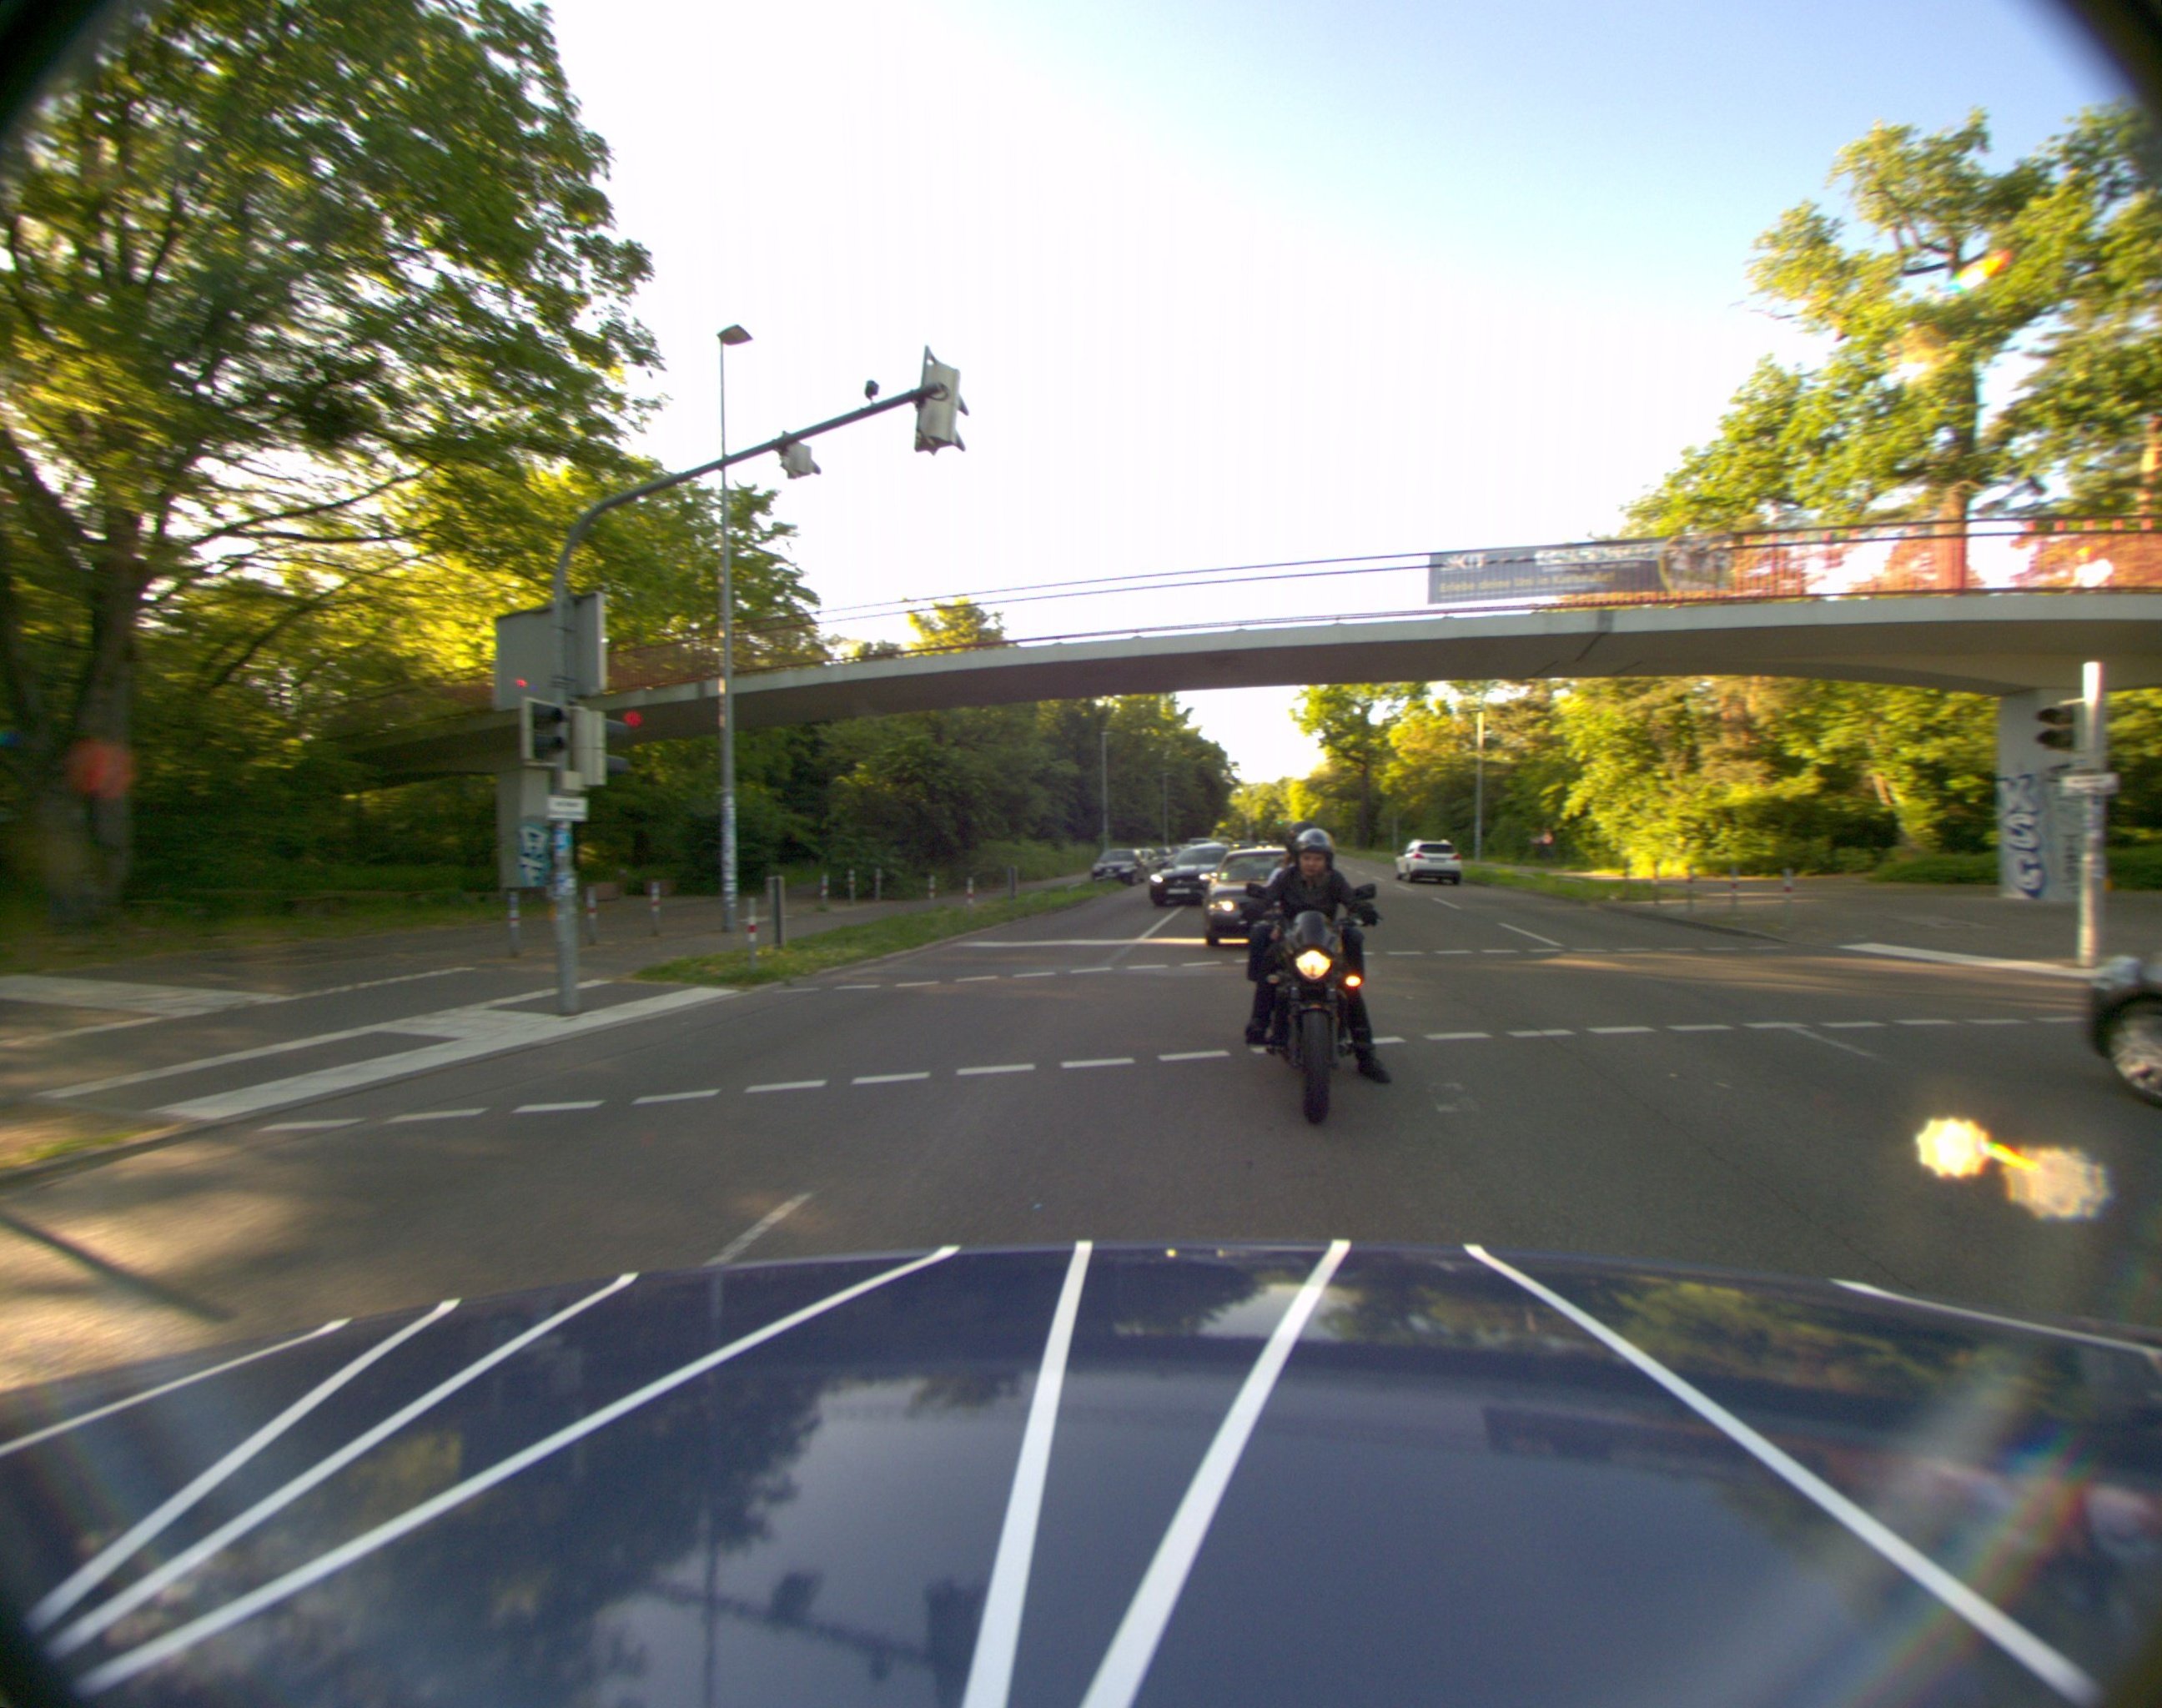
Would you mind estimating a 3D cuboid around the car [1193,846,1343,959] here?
[{"bbox_3d":[2.908,0.639,11.946,1.866,1.381,4.003,-3,1,13],"label":"car"}]

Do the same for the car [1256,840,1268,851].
[{"bbox_3d":[23.691,-1.127,99.325,1.463,1.237,4.003,-1,1,13],"label":"car"}]

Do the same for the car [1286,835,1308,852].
[{"bbox_3d":[21.641,-1.066,76.153,1.964,1.497,4.650,-1,2,14],"label":"car"}]

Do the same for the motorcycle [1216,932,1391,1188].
[{"bbox_3d":[1.410,1.132,5.050,0.806,0.908,2.715,-1,1,14],"label":"motorcycle"}]

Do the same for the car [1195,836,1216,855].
[{"bbox_3d":[13.622,-0.925,82.765,1.949,1.965,4.399,0,1,13],"label":"car"}]

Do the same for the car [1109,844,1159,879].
[{"bbox_3d":[2.575,0.317,36.072,1.719,1.499,3.979,0,1,13],"label":"car"}]

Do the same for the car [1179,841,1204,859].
[{"bbox_3d":[9.376,-0.355,64.132,1.735,1.499,4.399,0,1,13],"label":"car"}]

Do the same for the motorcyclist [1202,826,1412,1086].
[{"bbox_3d":[1.465,0.552,5.091,1.136,1.420,1.567,-1,3,14],"label":"motorcyclist"}]

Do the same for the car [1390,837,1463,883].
[{"bbox_3d":[12.532,0.163,27.799,1.679,1.515,3.905,1,2,14],"label":"car"}]

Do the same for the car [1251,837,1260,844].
[{"bbox_3d":[38.081,-2.966,166.227,1.892,1.491,4.399,0,1,13],"label":"car"}]

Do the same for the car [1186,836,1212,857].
[{"bbox_3d":[11.060,-0.735,70.970,2.015,1.965,5.045,0,1,13],"label":"car"}]

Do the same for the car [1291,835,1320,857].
[{"bbox_3d":[16.156,-0.603,54.787,1.753,1.448,3.643,1,2,14],"label":"car"}]

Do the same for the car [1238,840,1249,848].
[{"bbox_3d":[26.625,-1.697,124.567,1.734,1.237,4.003,-1,1,13],"label":"car"}]

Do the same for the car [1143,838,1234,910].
[{"bbox_3d":[3.101,0.414,20.823,1.996,1.625,5.891,-1,2,13],"label":"car"}]

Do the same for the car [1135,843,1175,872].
[{"bbox_3d":[4.248,0.161,42.977,1.735,1.499,4.156,0,1,13],"label":"car"}]

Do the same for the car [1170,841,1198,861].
[{"bbox_3d":[8.008,-0.242,58.827,1.735,1.499,4.399,0,1,13],"label":"car"}]

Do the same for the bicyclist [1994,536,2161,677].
[{"bbox_3d":[19.294,-4.695,14.622,1.680,2.157,1.413,-1,2,15],"label":"bicyclist"}]

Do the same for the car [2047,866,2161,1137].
[{"bbox_3d":[6.407,0.862,2.718,1.710,1.445,3.643,2,2,14],"label":"car"}]

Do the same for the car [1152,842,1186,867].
[{"bbox_3d":[5.648,0.009,48.257,1.702,1.499,4.140,0,1,13],"label":"car"}]

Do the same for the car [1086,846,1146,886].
[{"bbox_3d":[1.509,0.446,31.365,1.692,1.499,4.129,-1,1,13],"label":"car"}]
